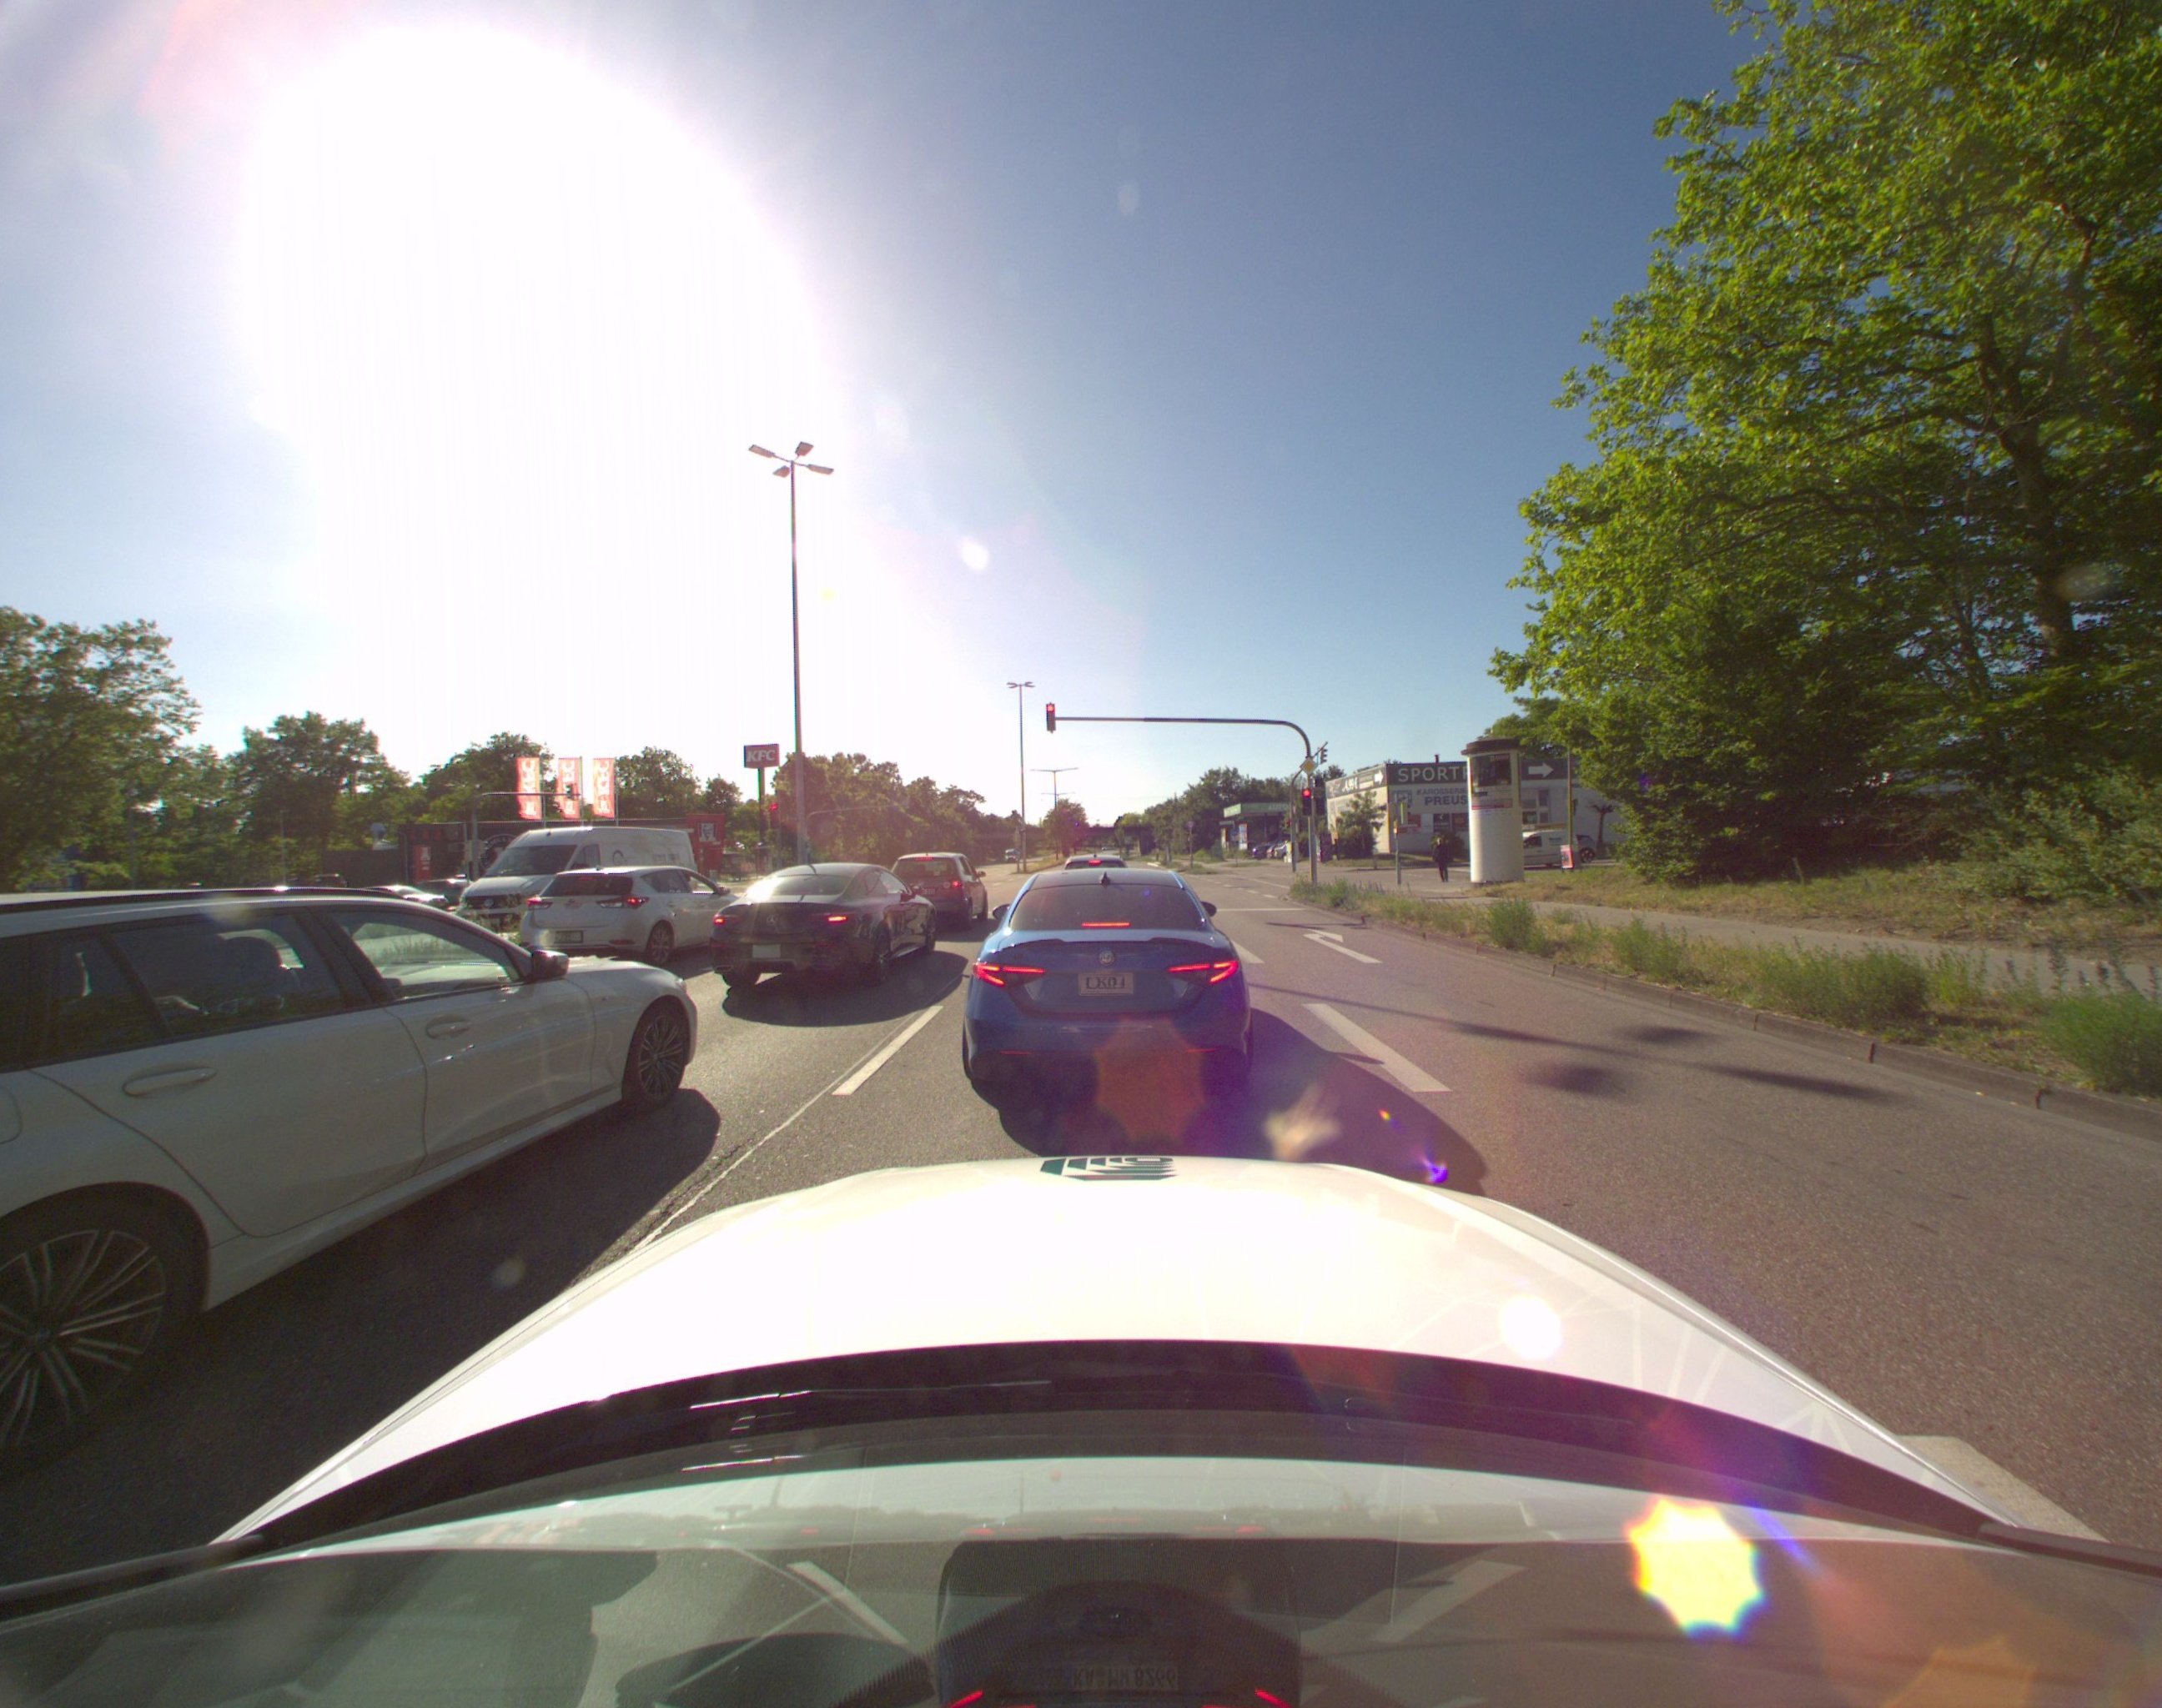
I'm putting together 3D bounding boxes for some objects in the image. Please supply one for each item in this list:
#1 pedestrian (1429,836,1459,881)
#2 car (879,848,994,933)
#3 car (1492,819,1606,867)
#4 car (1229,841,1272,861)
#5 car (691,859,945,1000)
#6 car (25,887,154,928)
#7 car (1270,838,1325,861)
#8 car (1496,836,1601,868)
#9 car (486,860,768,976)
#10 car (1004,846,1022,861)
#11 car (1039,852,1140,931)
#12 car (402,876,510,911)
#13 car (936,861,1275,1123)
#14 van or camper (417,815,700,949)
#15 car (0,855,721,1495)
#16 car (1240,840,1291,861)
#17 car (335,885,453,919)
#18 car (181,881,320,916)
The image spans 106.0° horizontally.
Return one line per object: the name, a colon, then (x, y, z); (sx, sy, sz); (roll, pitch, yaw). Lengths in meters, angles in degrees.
pedestrian: (14.133, 0.183, 31.705); (0.818, 1.721, 0.856); (-2, 0, 9)
car: (-3.014, 0.696, 17.723); (1.642, 1.598, 3.933); (-1, 0, 2)
car: (22.625, -0.521, 39.458); (4.393, 2.145, 1.999); (-1, 0, -2)
car: (15.376, -0.254, 73.961); (3.489, 1.706, 1.687); (-1, 0, -14)
car: (-3.148, 0.810, 10.825); (1.762, 1.414, 4.463); (-1, 0, 2)
car: (-47.048, 2.522, 38.704); (3.972, 1.728, 1.759); (-1, 0, 1)
car: (17.503, -0.360, 65.858); (3.993, 1.706, 1.687); (-1, 0, -15)
car: (24.431, -0.099, 42.683); (4.393, 1.553, 1.999); (-1, 0, -2)
car: (-6.826, 0.861, 12.925); (1.850, 1.429, 4.405); (-1, 0, 2)
car: (-11.806, -0.097, 141.981); (2.423, 2.427, 5.831); (-2, 0, 0)
car: (0.226, 0.699, 17.188); (1.859, 1.450, 3.933); (-1, 0, 2)
car: (-31.928, 1.984, 41.682); (4.025, 1.595, 1.824); (-2, 0, -1)
car: (0.197, 0.785, 6.496); (1.859, 1.385, 3.933); (-1, 0, 2)
van or camper: (-12.184, 0.571, 19.899); (2.169, 2.572, 6.758); (-3, 0, 3)
car: (-3.434, 0.794, 3.352); (1.762, 1.509, 4.463); (-1, 0, 2)
car: (16.033, -0.290, 70.752); (3.997, 1.706, 1.685); (-1, 0, -18)
car: (-32.132, 2.234, 38.160); (4.019, 1.429, 1.826); (-1, 0, 3)
car: (-39.254, 2.080, 38.568); (4.701, 1.429, 1.865); (-1, 1, 2)
